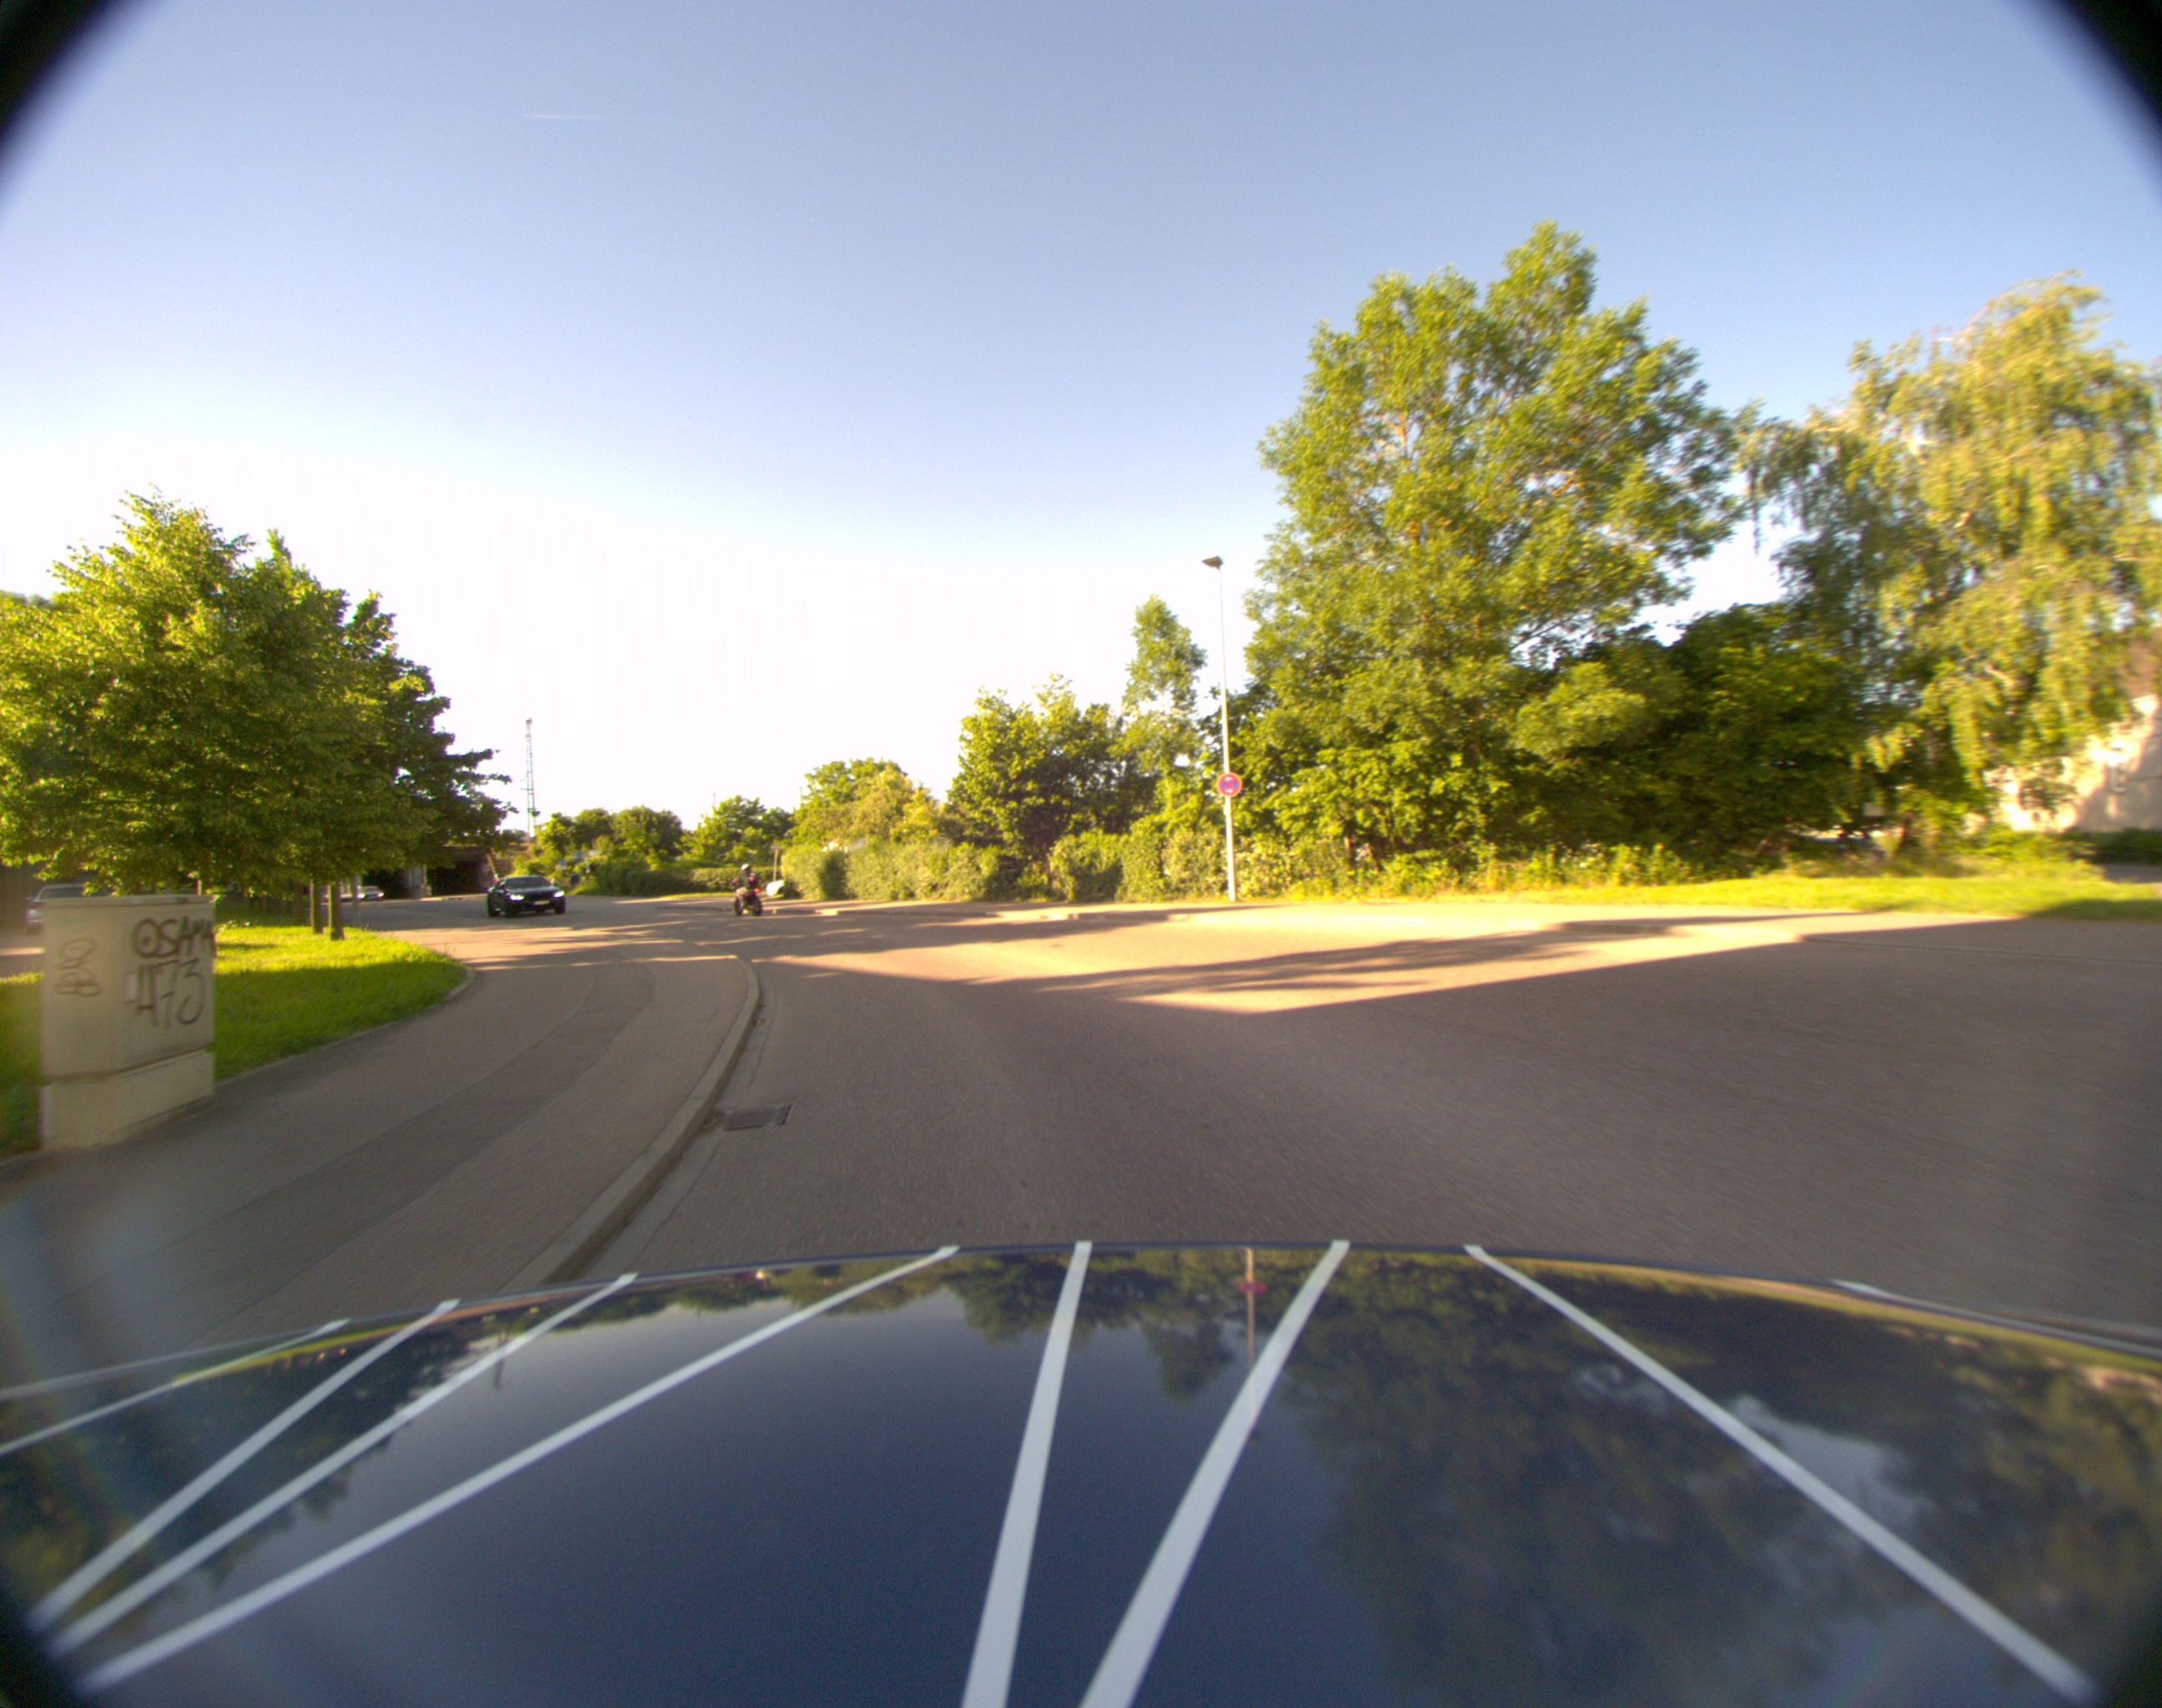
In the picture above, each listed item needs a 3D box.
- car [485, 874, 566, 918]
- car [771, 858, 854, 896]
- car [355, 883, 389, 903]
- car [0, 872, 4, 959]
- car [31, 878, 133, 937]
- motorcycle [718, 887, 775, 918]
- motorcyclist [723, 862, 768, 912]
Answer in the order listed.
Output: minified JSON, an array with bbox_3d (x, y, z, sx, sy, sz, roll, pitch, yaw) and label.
[{"bbox_3d":[-23.782,1.754,32.448,4.601,1.623,2.042,-2,1,45],"label":"car"},{"bbox_3d":[-14.233,1.175,40.506,4.002,1.772,1.997,-3,1,-17],"label":"car"},{"bbox_3d":[-65.897,3.603,70.574,4.601,1.623,2.042,-2,1,45],"label":"car"},{"bbox_3d":[-22.419,1.230,14.553,4.229,1.847,1.904,-2,0,37],"label":"car"},{"bbox_3d":[-30.764,1.595,23.468,3.640,1.477,1.781,1,2,38],"label":"car"},{"bbox_3d":[-11.254,1.613,25.535,2.294,0.966,0.837,-2,1,42],"label":"motorcycle"},{"bbox_3d":[-11.259,1.097,25.509,1.239,1.602,0.868,-2,1,42],"label":"motorcyclist"}]
